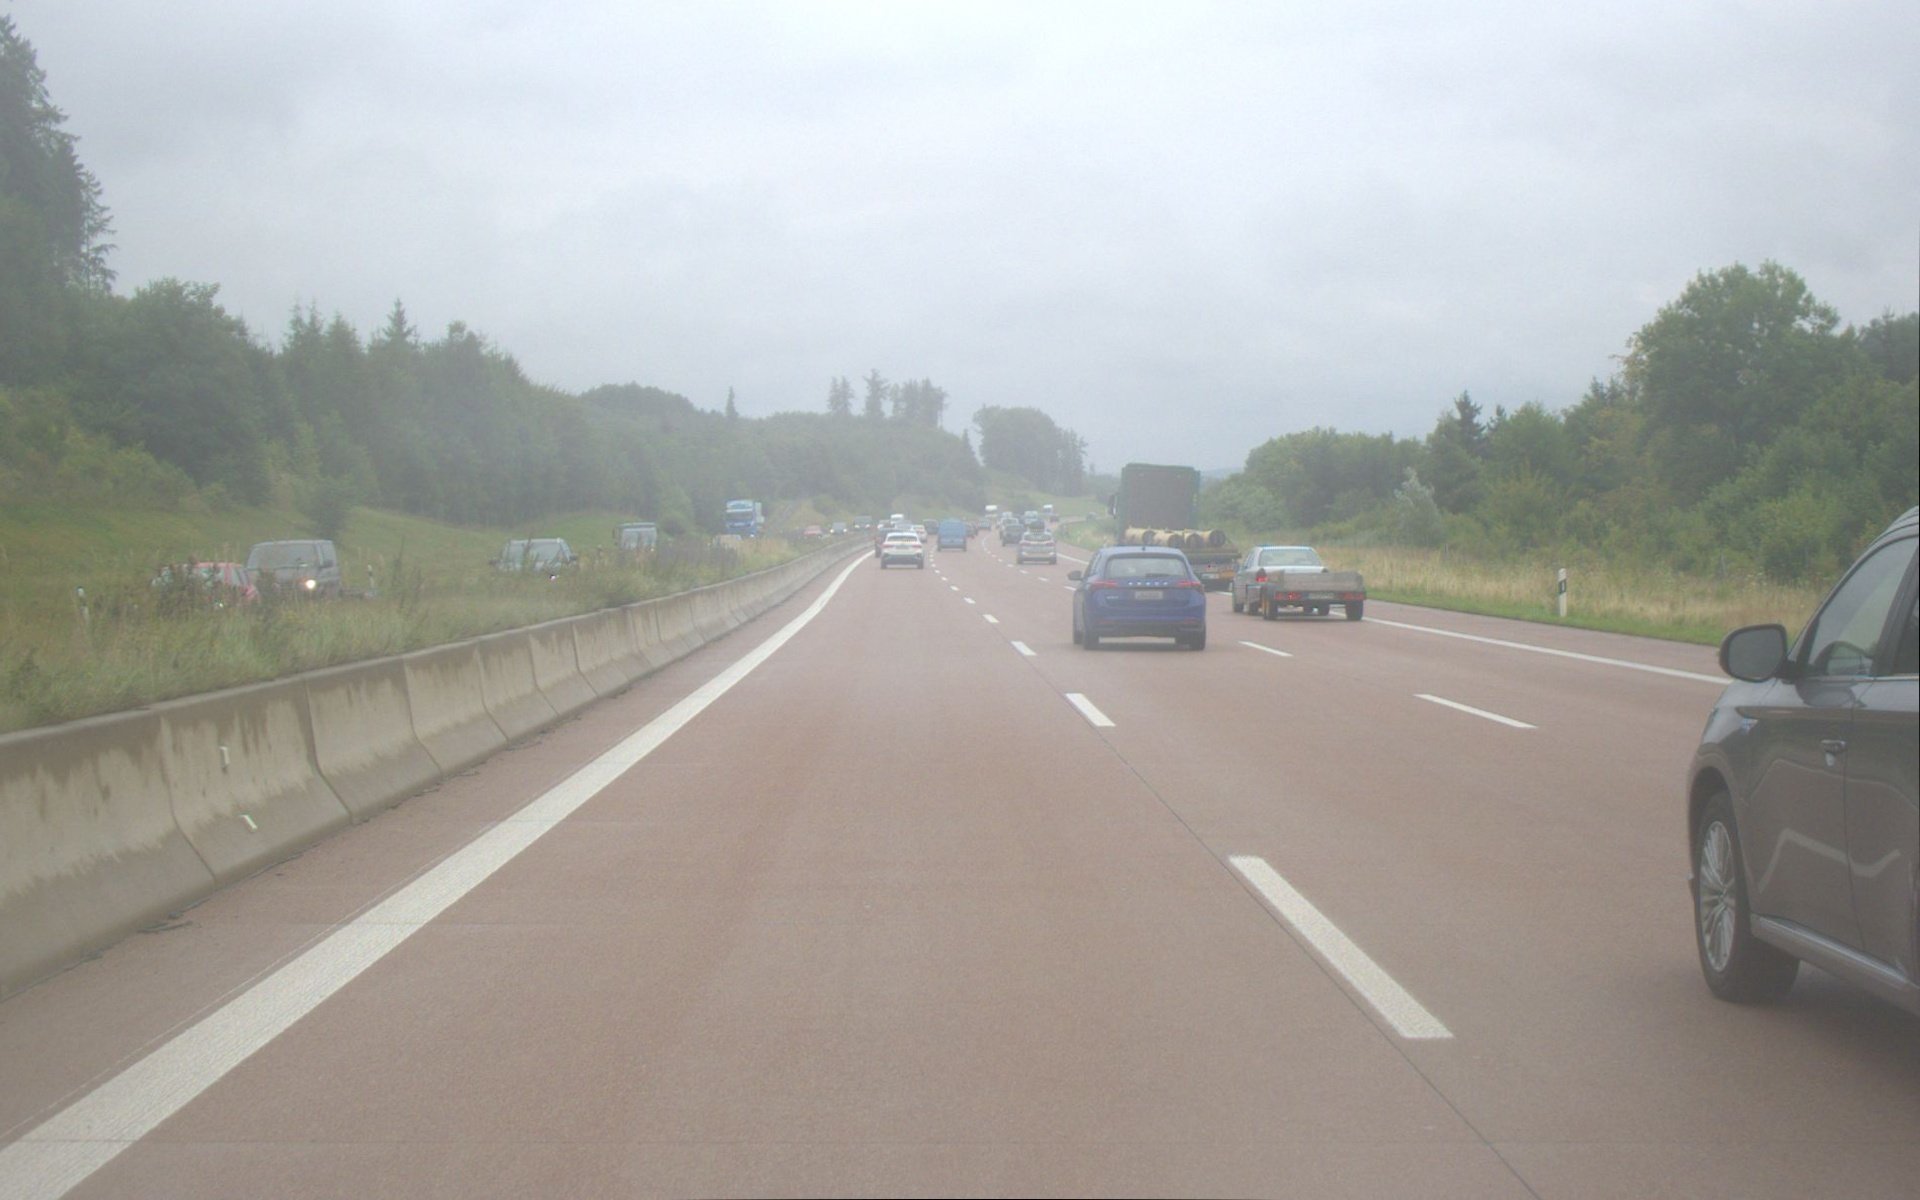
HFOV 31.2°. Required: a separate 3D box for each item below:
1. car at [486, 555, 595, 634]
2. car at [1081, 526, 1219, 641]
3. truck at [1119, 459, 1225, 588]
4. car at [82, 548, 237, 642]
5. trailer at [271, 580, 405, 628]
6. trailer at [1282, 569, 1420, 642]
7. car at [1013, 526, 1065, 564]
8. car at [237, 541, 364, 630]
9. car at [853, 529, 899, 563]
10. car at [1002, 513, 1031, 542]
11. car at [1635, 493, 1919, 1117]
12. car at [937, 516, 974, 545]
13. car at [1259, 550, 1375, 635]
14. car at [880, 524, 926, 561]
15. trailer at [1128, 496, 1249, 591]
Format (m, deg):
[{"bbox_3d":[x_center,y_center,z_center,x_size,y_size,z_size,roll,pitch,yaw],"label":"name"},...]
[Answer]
[{"bbox_3d":[-9.888,-0.140,81.357,1.890,1.773,4.938,1,0,1],"label":"car"},{"bbox_3d":[2.707,-0.242,49.731,1.771,1.558,4.146,1,0,0],"label":"car"},{"bbox_3d":[6.737,-2.392,110.165,2.897,3.951,6.989,1,0,0],"label":"truck"},{"bbox_3d":[-13.554,-0.097,58.415,1.726,1.524,4.117,1,0,-1],"label":"car"},{"bbox_3d":[-15.516,0.081,86.160,2.205,0.994,6.852,-4,0,-1],"label":"trailer"},{"bbox_3d":[7.070,0.080,62.585,1.971,1.162,4.639,1,2,0],"label":"trailer"},{"bbox_3d":[3.704,-2.590,162.309,2.322,1.744,4.877,1,0,0],"label":"car"},{"bbox_3d":[-15.387,-0.349,80.502,1.993,2.007,5.674,1,0,-1],"label":"car"},{"bbox_3d":[-4.518,-2.929,186.324,2.322,1.744,4.877,1,0,0],"label":"car"},{"bbox_3d":[4.120,-5.285,251.160,1.993,2.007,4.000,1,0,0],"label":"car"},{"bbox_3d":[3.446,0.527,9.542,1.993,1.587,5.820,1,0,0],"label":"car"},{"bbox_3d":[-0.265,-4.376,216.641,2.322,1.744,4.877,1,0,0],"label":"car"},{"bbox_3d":[6.956,-0.167,67.348,1.698,1.606,4.977,0,1,-1],"label":"car"},{"bbox_3d":[-2.419,-2.458,147.138,1.874,1.439,4.878,1,2,0],"label":"car"},{"bbox_3d":[6.729,-1.630,102.741,2.881,2.666,11.398,1,0,0],"label":"trailer"}]
